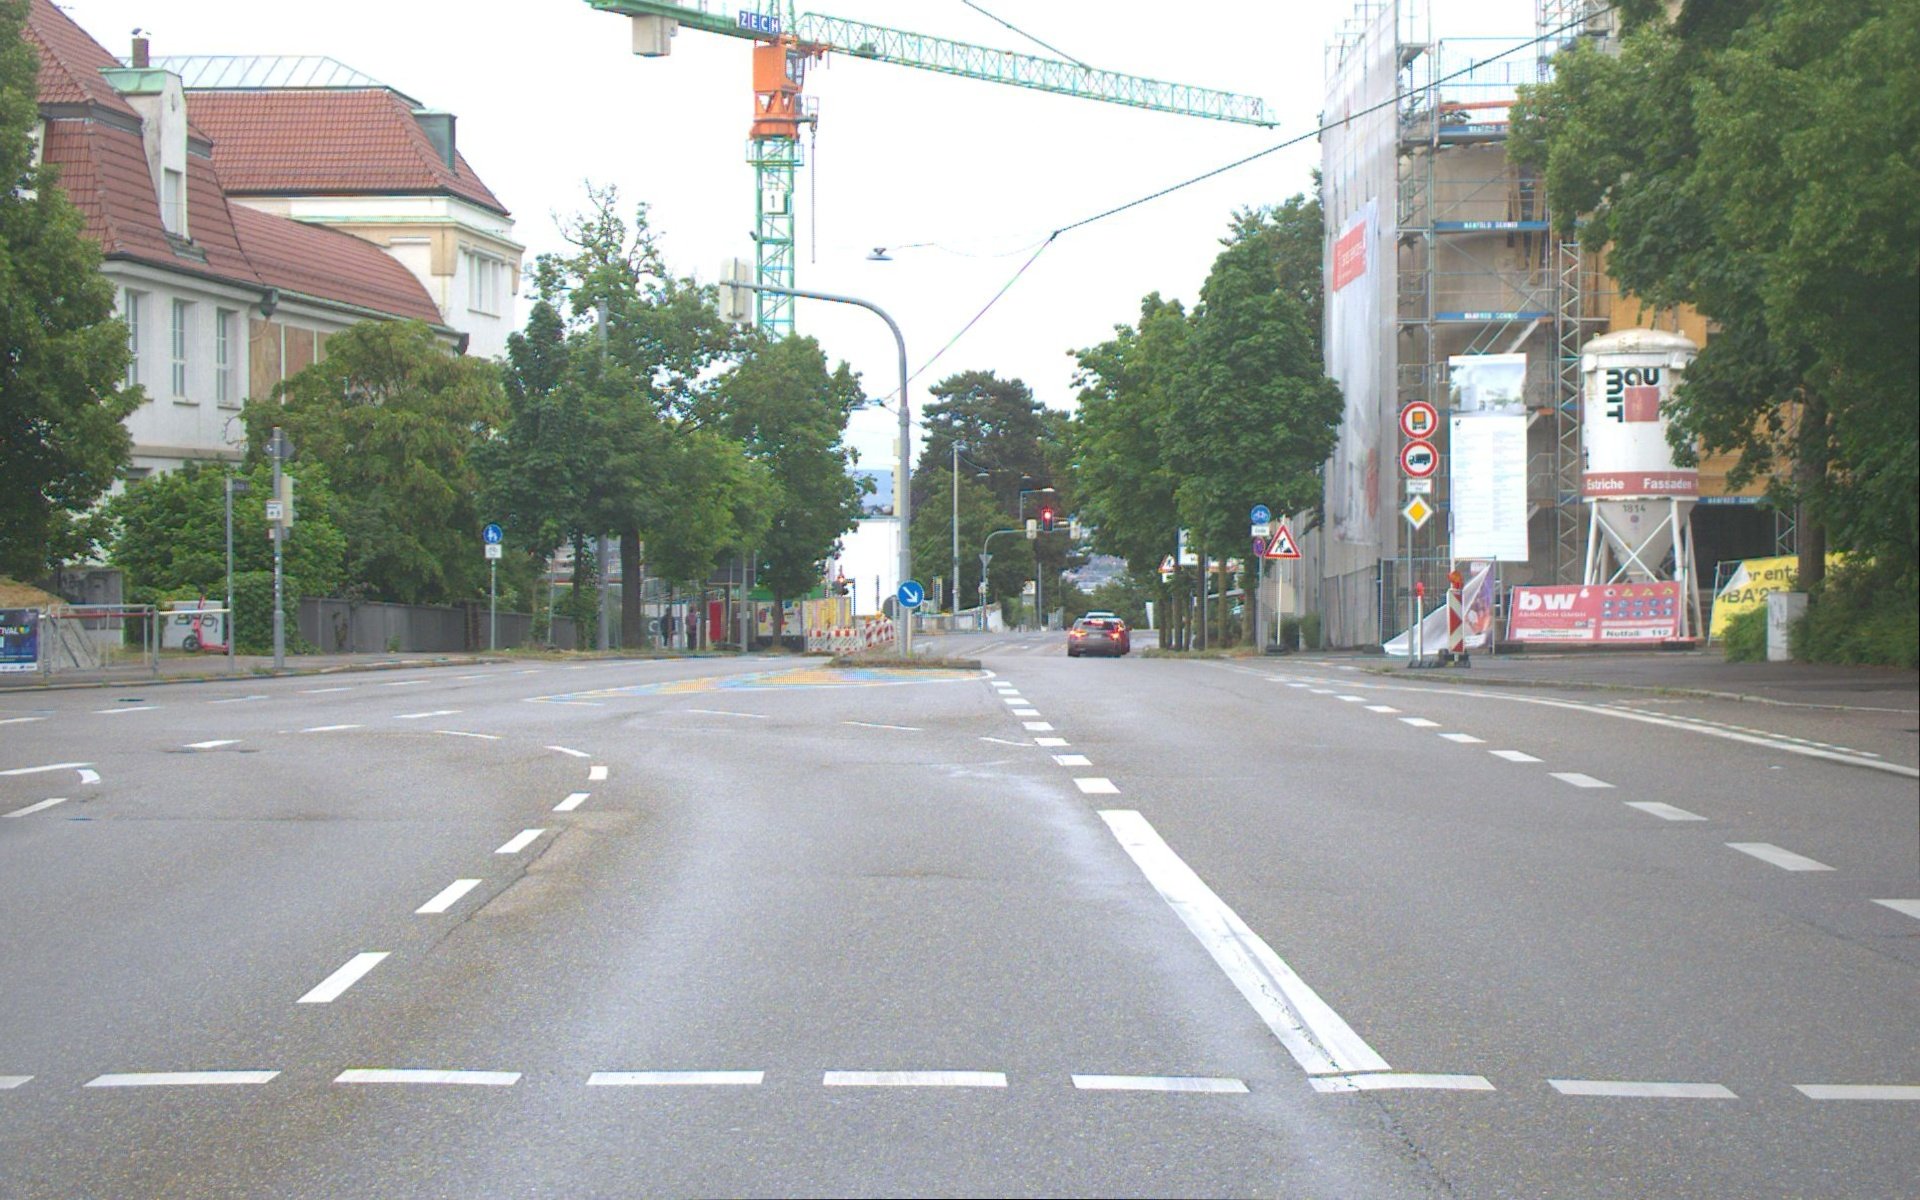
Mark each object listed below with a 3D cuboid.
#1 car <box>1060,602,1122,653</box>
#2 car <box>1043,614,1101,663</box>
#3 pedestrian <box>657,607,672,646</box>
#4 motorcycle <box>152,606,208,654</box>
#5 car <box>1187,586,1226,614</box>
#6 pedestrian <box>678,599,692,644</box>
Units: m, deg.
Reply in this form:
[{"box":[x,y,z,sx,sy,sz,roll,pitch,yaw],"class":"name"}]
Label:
[{"box":[4.750,0.989,125.081,1.993,1.744,4.000,-1,1,-1],"class":"car"},{"box":[4.238,1.456,131.043,1.993,1.744,4.000,-1,1,-1],"class":"car"},{"box":[-10.756,0.971,125.194,0.474,1.391,0.411,-1,1,-1],"class":"pedestrian"},{"box":[-14.708,0.560,64.839,0.849,0.874,0.877,1,0,-1],"class":"motorcycle"},{"box":[15.741,-0.015,219.317,1.994,1.744,3.998,-1,1,11],"class":"car"},{"box":[-10.025,0.783,125.299,0.493,1.640,0.534,1,0,-6],"class":"pedestrian"}]
